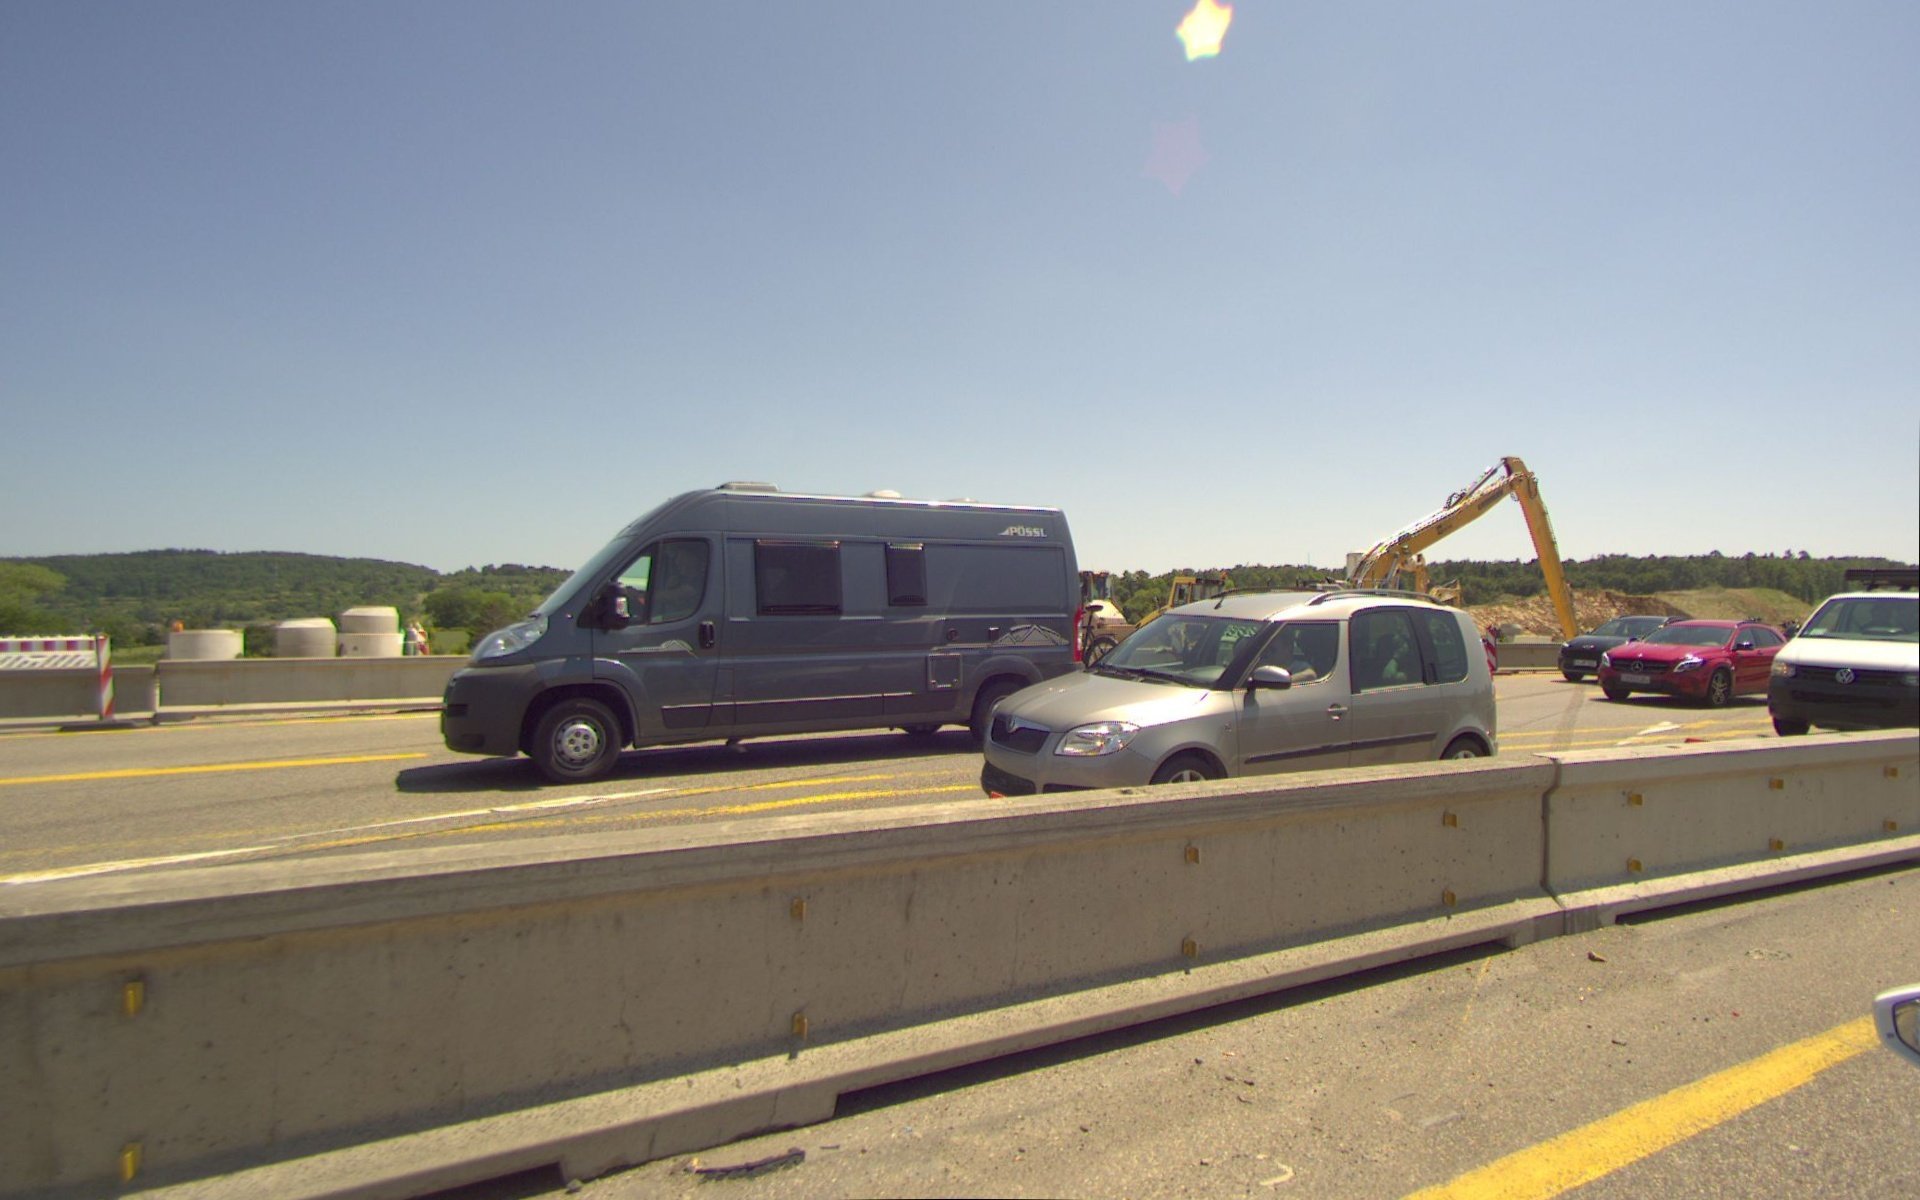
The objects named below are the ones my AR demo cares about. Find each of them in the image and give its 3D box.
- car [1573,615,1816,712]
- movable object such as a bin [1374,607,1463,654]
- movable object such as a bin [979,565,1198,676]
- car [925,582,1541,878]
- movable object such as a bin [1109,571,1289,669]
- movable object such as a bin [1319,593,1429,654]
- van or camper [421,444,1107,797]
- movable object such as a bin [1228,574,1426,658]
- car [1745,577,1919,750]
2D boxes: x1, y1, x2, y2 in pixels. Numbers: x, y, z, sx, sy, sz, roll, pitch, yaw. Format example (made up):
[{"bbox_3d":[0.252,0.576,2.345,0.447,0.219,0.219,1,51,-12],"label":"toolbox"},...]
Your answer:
[{"bbox_3d":[13.525,1.076,18.449,4.601,1.521,1.983,1,1,-31],"label":"car"},{"bbox_3d":[32.563,2.114,71.294,5.972,3.090,3.806,-1,0,-44],"label":"movable object such as a bin"},{"bbox_3d":[3.098,0.370,27.242,3.652,2.465,7.914,2,2,-10],"label":"movable object such as a bin"},{"bbox_3d":[2.012,0.735,7.263,4.172,1.637,1.751,1,1,-26],"label":"car"},{"bbox_3d":[7.470,0.528,32.312,2.768,2.800,6.042,1,1,-19],"label":"movable object such as a bin"},{"bbox_3d":[22.448,1.217,54.464,4.950,3.066,3.635,-1,0,-40],"label":"movable object such as a bin"},{"bbox_3d":[-1.696,0.218,9.777,6.228,2.575,2.090,1,-2,-29],"label":"van or camper"},{"bbox_3d":[11.975,0.480,32.838,5.371,2.473,3.278,1,2,-28],"label":"movable object such as a bin"},{"bbox_3d":[12.590,0.740,13.069,4.996,1.898,1.864,1,2,-29],"label":"car"}]
